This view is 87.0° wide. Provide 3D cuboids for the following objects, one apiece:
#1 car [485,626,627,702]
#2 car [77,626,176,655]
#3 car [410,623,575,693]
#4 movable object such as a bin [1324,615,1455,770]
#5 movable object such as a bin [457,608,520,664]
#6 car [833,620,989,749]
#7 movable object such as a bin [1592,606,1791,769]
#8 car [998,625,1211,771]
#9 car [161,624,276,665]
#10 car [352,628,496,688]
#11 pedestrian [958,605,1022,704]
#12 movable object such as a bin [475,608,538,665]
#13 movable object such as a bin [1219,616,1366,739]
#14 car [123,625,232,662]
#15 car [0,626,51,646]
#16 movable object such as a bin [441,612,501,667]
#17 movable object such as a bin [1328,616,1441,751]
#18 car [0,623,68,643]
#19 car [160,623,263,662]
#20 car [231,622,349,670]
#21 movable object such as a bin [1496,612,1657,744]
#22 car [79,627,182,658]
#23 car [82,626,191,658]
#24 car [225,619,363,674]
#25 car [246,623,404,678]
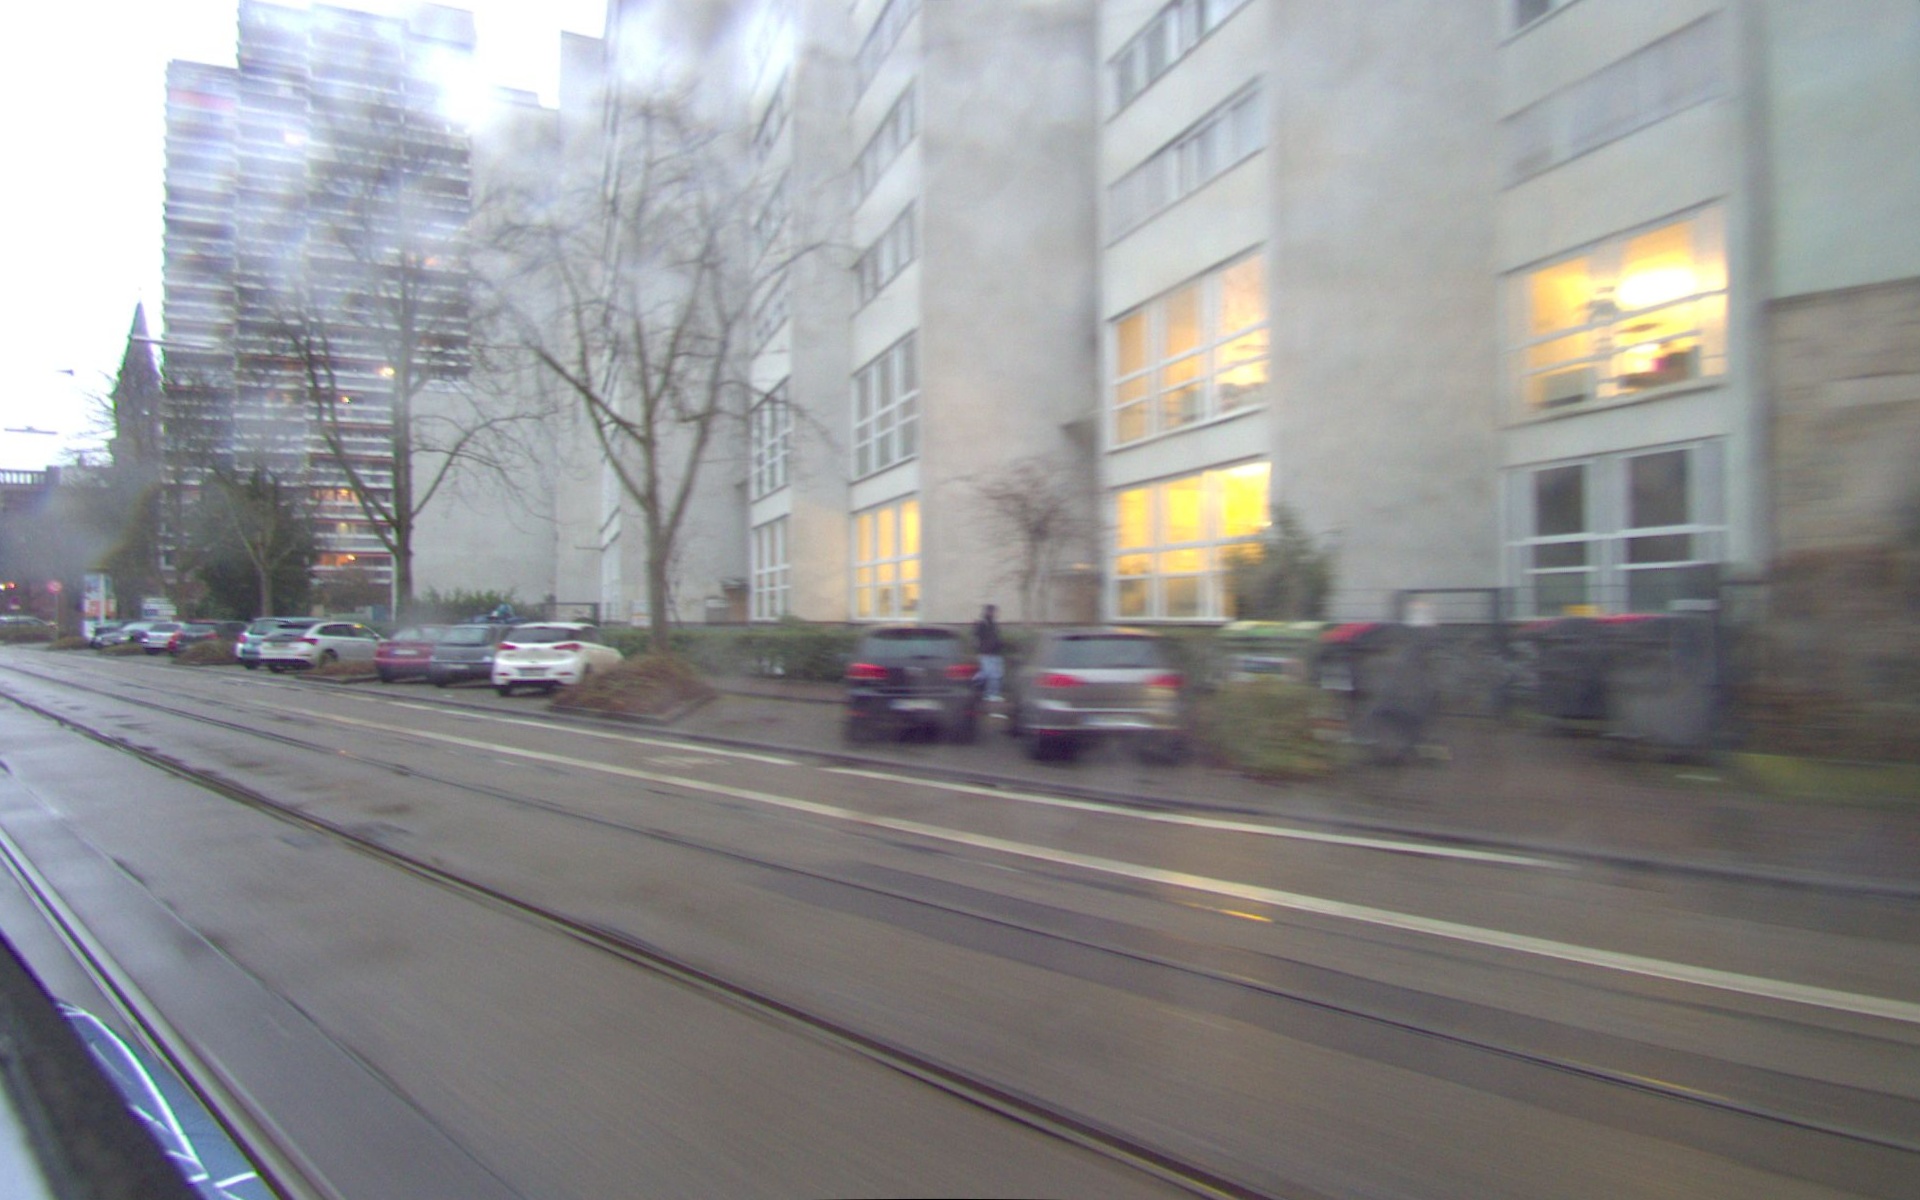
[{"bbox_3d":[-8.305,1.293,21.182,1.710,1.434,3.856,0,-2,-5],"label":"car"},{"bbox_3d":[-42.618,2.055,51.862,1.829,1.410,4.000,0,-2,-1],"label":"car"},{"bbox_3d":[-10.886,1.333,23.911,1.715,1.474,3.992,1,-2,6],"label":"car"},{"bbox_3d":[4.334,0.901,10.345,1.103,1.461,1.259,-1,-2,19],"label":"movable object such as a bin"},{"bbox_3d":[-16.346,1.259,35.086,1.393,1.874,1.553,-4,-4,42],"label":"movable object such as a bin"},{"bbox_3d":[-0.721,1.039,13.754,1.804,1.482,4.003,0,-2,-4],"label":"car"},{"bbox_3d":[7.215,0.820,9.999,1.247,1.461,1.327,2,-3,-42],"label":"movable object such as a bin"},{"bbox_3d":[1.515,1.049,12.086,1.822,1.439,4.001,0,-2,-2],"label":"car"},{"bbox_3d":[-28.150,1.688,38.578,1.671,1.504,3.856,0,-2,-3],"label":"car"},{"bbox_3d":[-13.293,1.416,25.395,1.722,1.362,4.354,1,-2,-7],"label":"car"},{"bbox_3d":[0.523,0.958,17.839,0.972,1.690,0.590,-2,-3,41],"label":"pedestrian"},{"bbox_3d":[-15.313,1.240,34.164,1.317,1.874,1.553,-4,-4,42],"label":"movable object such as a bin"},{"bbox_3d":[4.253,0.954,12.976,1.247,1.461,1.327,2,-3,-42],"label":"movable object such as a bin"},{"bbox_3d":[-33.098,1.837,42.951,1.765,1.457,4.004,0,-2,-5],"label":"car"},{"bbox_3d":[-71.203,2.715,76.254,3.939,1.497,1.673,2,-3,-43],"label":"car"},{"bbox_3d":[-17.385,1.417,36.012,1.317,1.874,1.553,-4,-4,42],"label":"movable object such as a bin"},{"bbox_3d":[4.850,0.928,11.650,1.103,1.461,1.085,-1,-2,20],"label":"movable object such as a bin"},{"bbox_3d":[-72.929,2.615,79.697,3.939,1.497,1.673,2,-3,-43],"label":"car"},{"bbox_3d":[-30.516,1.742,41.389,1.705,1.504,3.451,0,-2,-1],"label":"car"},{"bbox_3d":[-22.886,1.569,34.737,1.668,1.563,3.879,0,-2,-4],"label":"car"},{"bbox_3d":[7.430,0.904,12.206,1.247,1.461,1.327,2,-3,-42],"label":"movable object such as a bin"},{"bbox_3d":[-40.580,2.074,49.653,1.829,1.474,4.000,0,-2,-1],"label":"car"},{"bbox_3d":[-37.948,1.946,46.784,1.829,1.389,4.000,0,-2,-1],"label":"car"},{"bbox_3d":[-20.650,1.440,31.574,1.712,1.575,4.000,0,-2,-1],"label":"car"},{"bbox_3d":[-18.275,1.429,29.368,1.716,1.455,3.990,1,-2,8],"label":"car"}]
